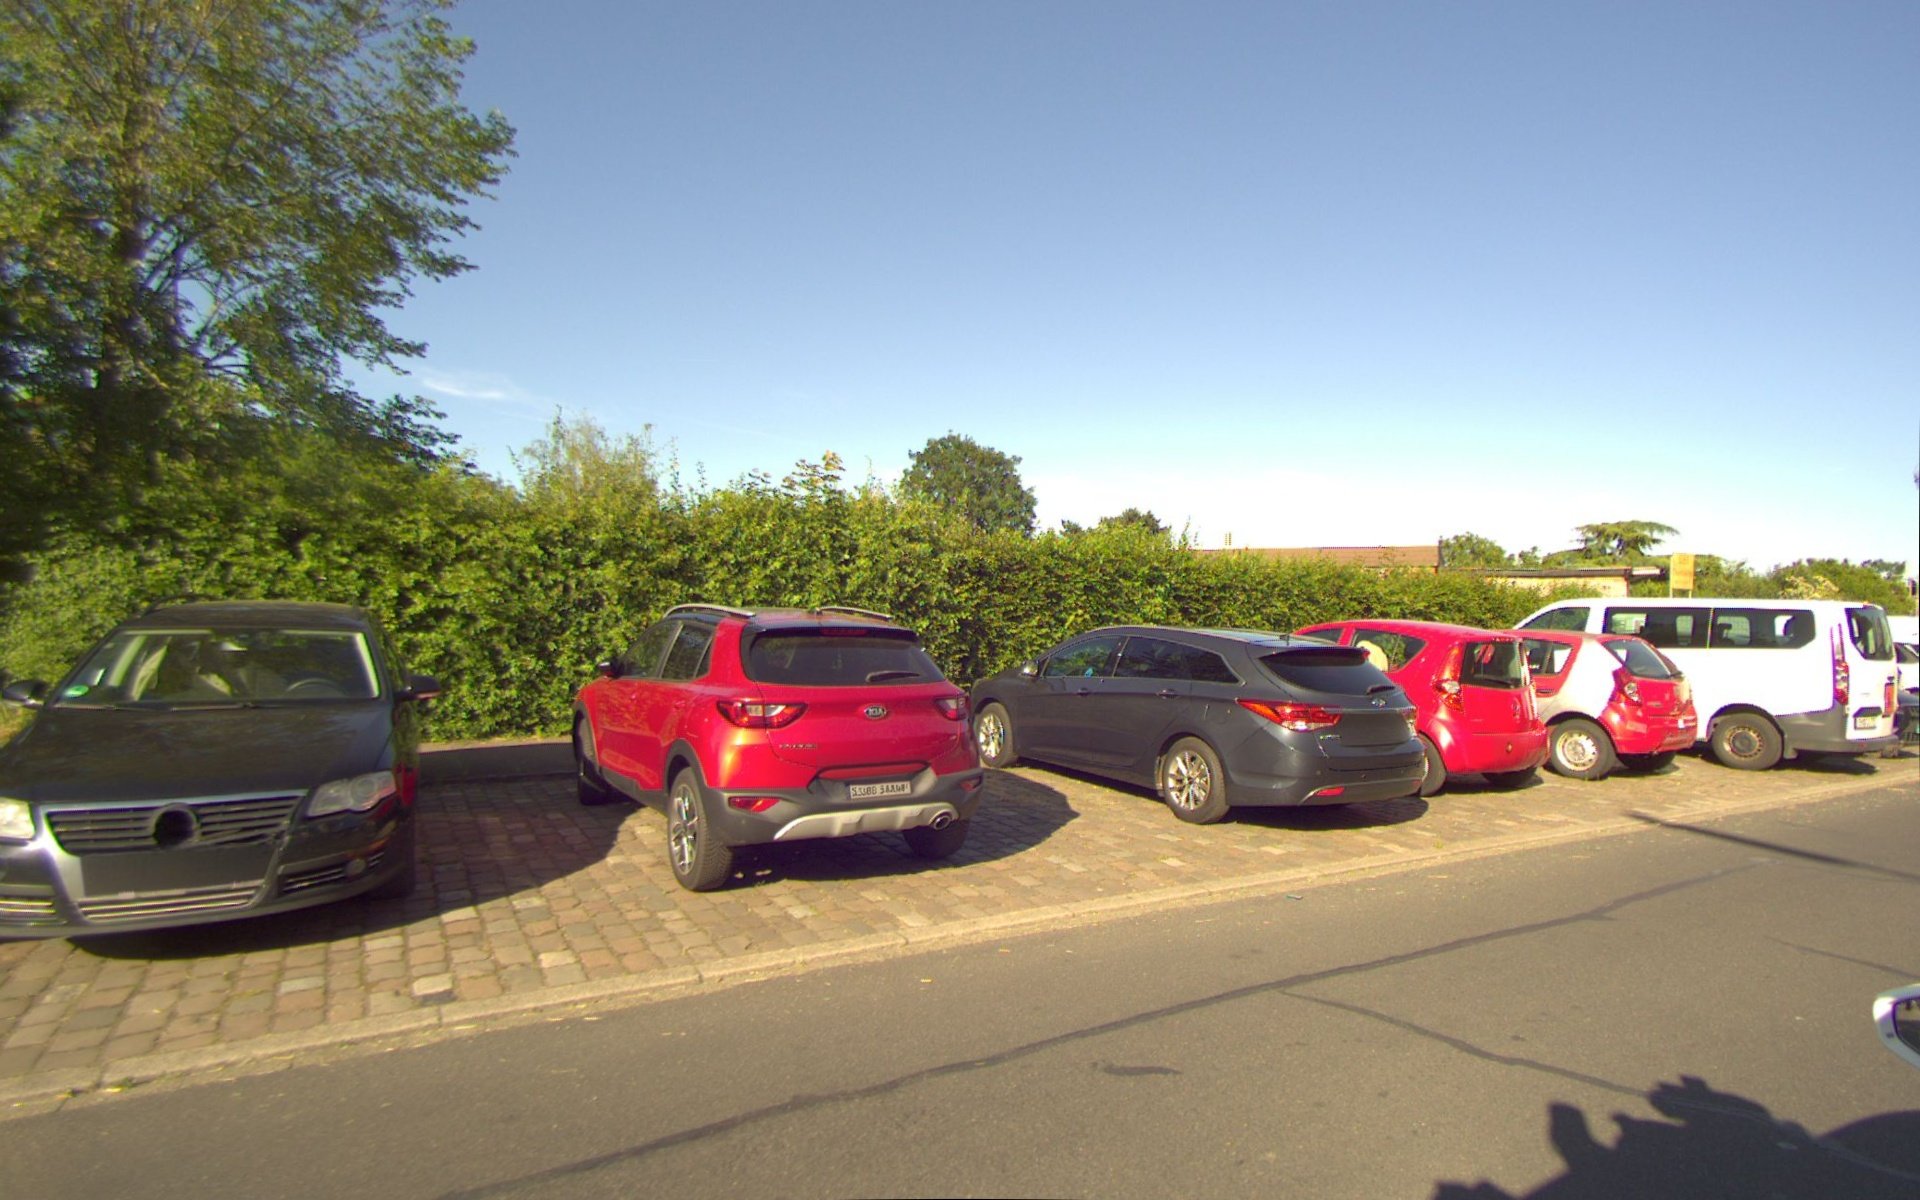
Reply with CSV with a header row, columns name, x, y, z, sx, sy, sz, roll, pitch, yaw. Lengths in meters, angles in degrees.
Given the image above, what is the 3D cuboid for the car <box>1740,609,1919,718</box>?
name,x,y,z,sx,sy,sz,roll,pitch,yaw
car,18.704,1.265,19.836,2.061,1.946,4.758,3,0,-34

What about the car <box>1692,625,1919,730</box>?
name,x,y,z,sx,sy,sz,roll,pitch,yaw
car,16.231,1.383,18.517,1.862,1.603,3.966,3,0,-31

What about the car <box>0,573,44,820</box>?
name,x,y,z,sx,sy,sz,roll,pitch,yaw
car,-6.117,0.611,4.607,1.790,1.532,4.076,3,0,-28

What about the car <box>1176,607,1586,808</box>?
name,x,y,z,sx,sy,sz,roll,pitch,yaw
car,4.189,0.945,10.554,1.858,1.588,3.587,1,1,-28

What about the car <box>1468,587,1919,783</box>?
name,x,y,z,sx,sy,sz,roll,pitch,yaw
car,9.346,0.921,13.074,1.978,2.003,4.454,3,0,-31

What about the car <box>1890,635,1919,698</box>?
name,x,y,z,sx,sy,sz,roll,pitch,yaw
car,24.700,1.700,23.864,1.619,1.509,3.494,2,1,-32

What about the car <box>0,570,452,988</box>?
name,x,y,z,sx,sy,sz,roll,pitch,yaw
car,-4.003,0.649,5.758,1.882,1.532,4.003,3,0,-27

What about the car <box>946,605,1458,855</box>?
name,x,y,z,sx,sy,sz,roll,pitch,yaw
car,1.787,0.878,8.967,1.728,1.499,4.518,1,1,-32

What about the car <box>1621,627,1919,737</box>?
name,x,y,z,sx,sy,sz,roll,pitch,yaw
car,14.083,1.343,17.578,1.862,1.506,3.748,3,0,-31

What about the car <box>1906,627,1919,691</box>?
name,x,y,z,sx,sy,sz,roll,pitch,yaw
car,28.635,1.698,27.339,1.908,1.804,3.946,1,0,-38

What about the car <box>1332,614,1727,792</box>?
name,x,y,z,sx,sy,sz,roll,pitch,yaw
car,6.482,1.046,11.809,1.831,1.588,3.584,1,1,-30

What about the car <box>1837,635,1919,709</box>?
name,x,y,z,sx,sy,sz,roll,pitch,yaw
car,20.956,1.586,21.090,1.619,1.465,3.494,3,0,-32

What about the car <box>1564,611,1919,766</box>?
name,x,y,z,sx,sy,sz,roll,pitch,yaw
car,11.383,1.140,14.502,1.862,1.728,4.130,3,0,-31

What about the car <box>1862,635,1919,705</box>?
name,x,y,z,sx,sy,sz,roll,pitch,yaw
car,22.610,1.626,22.382,1.621,1.509,3.488,0,1,-37

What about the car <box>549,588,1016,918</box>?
name,x,y,z,sx,sy,sz,roll,pitch,yaw
car,-1.503,0.723,6.929,1.771,1.499,3.963,1,1,-33
